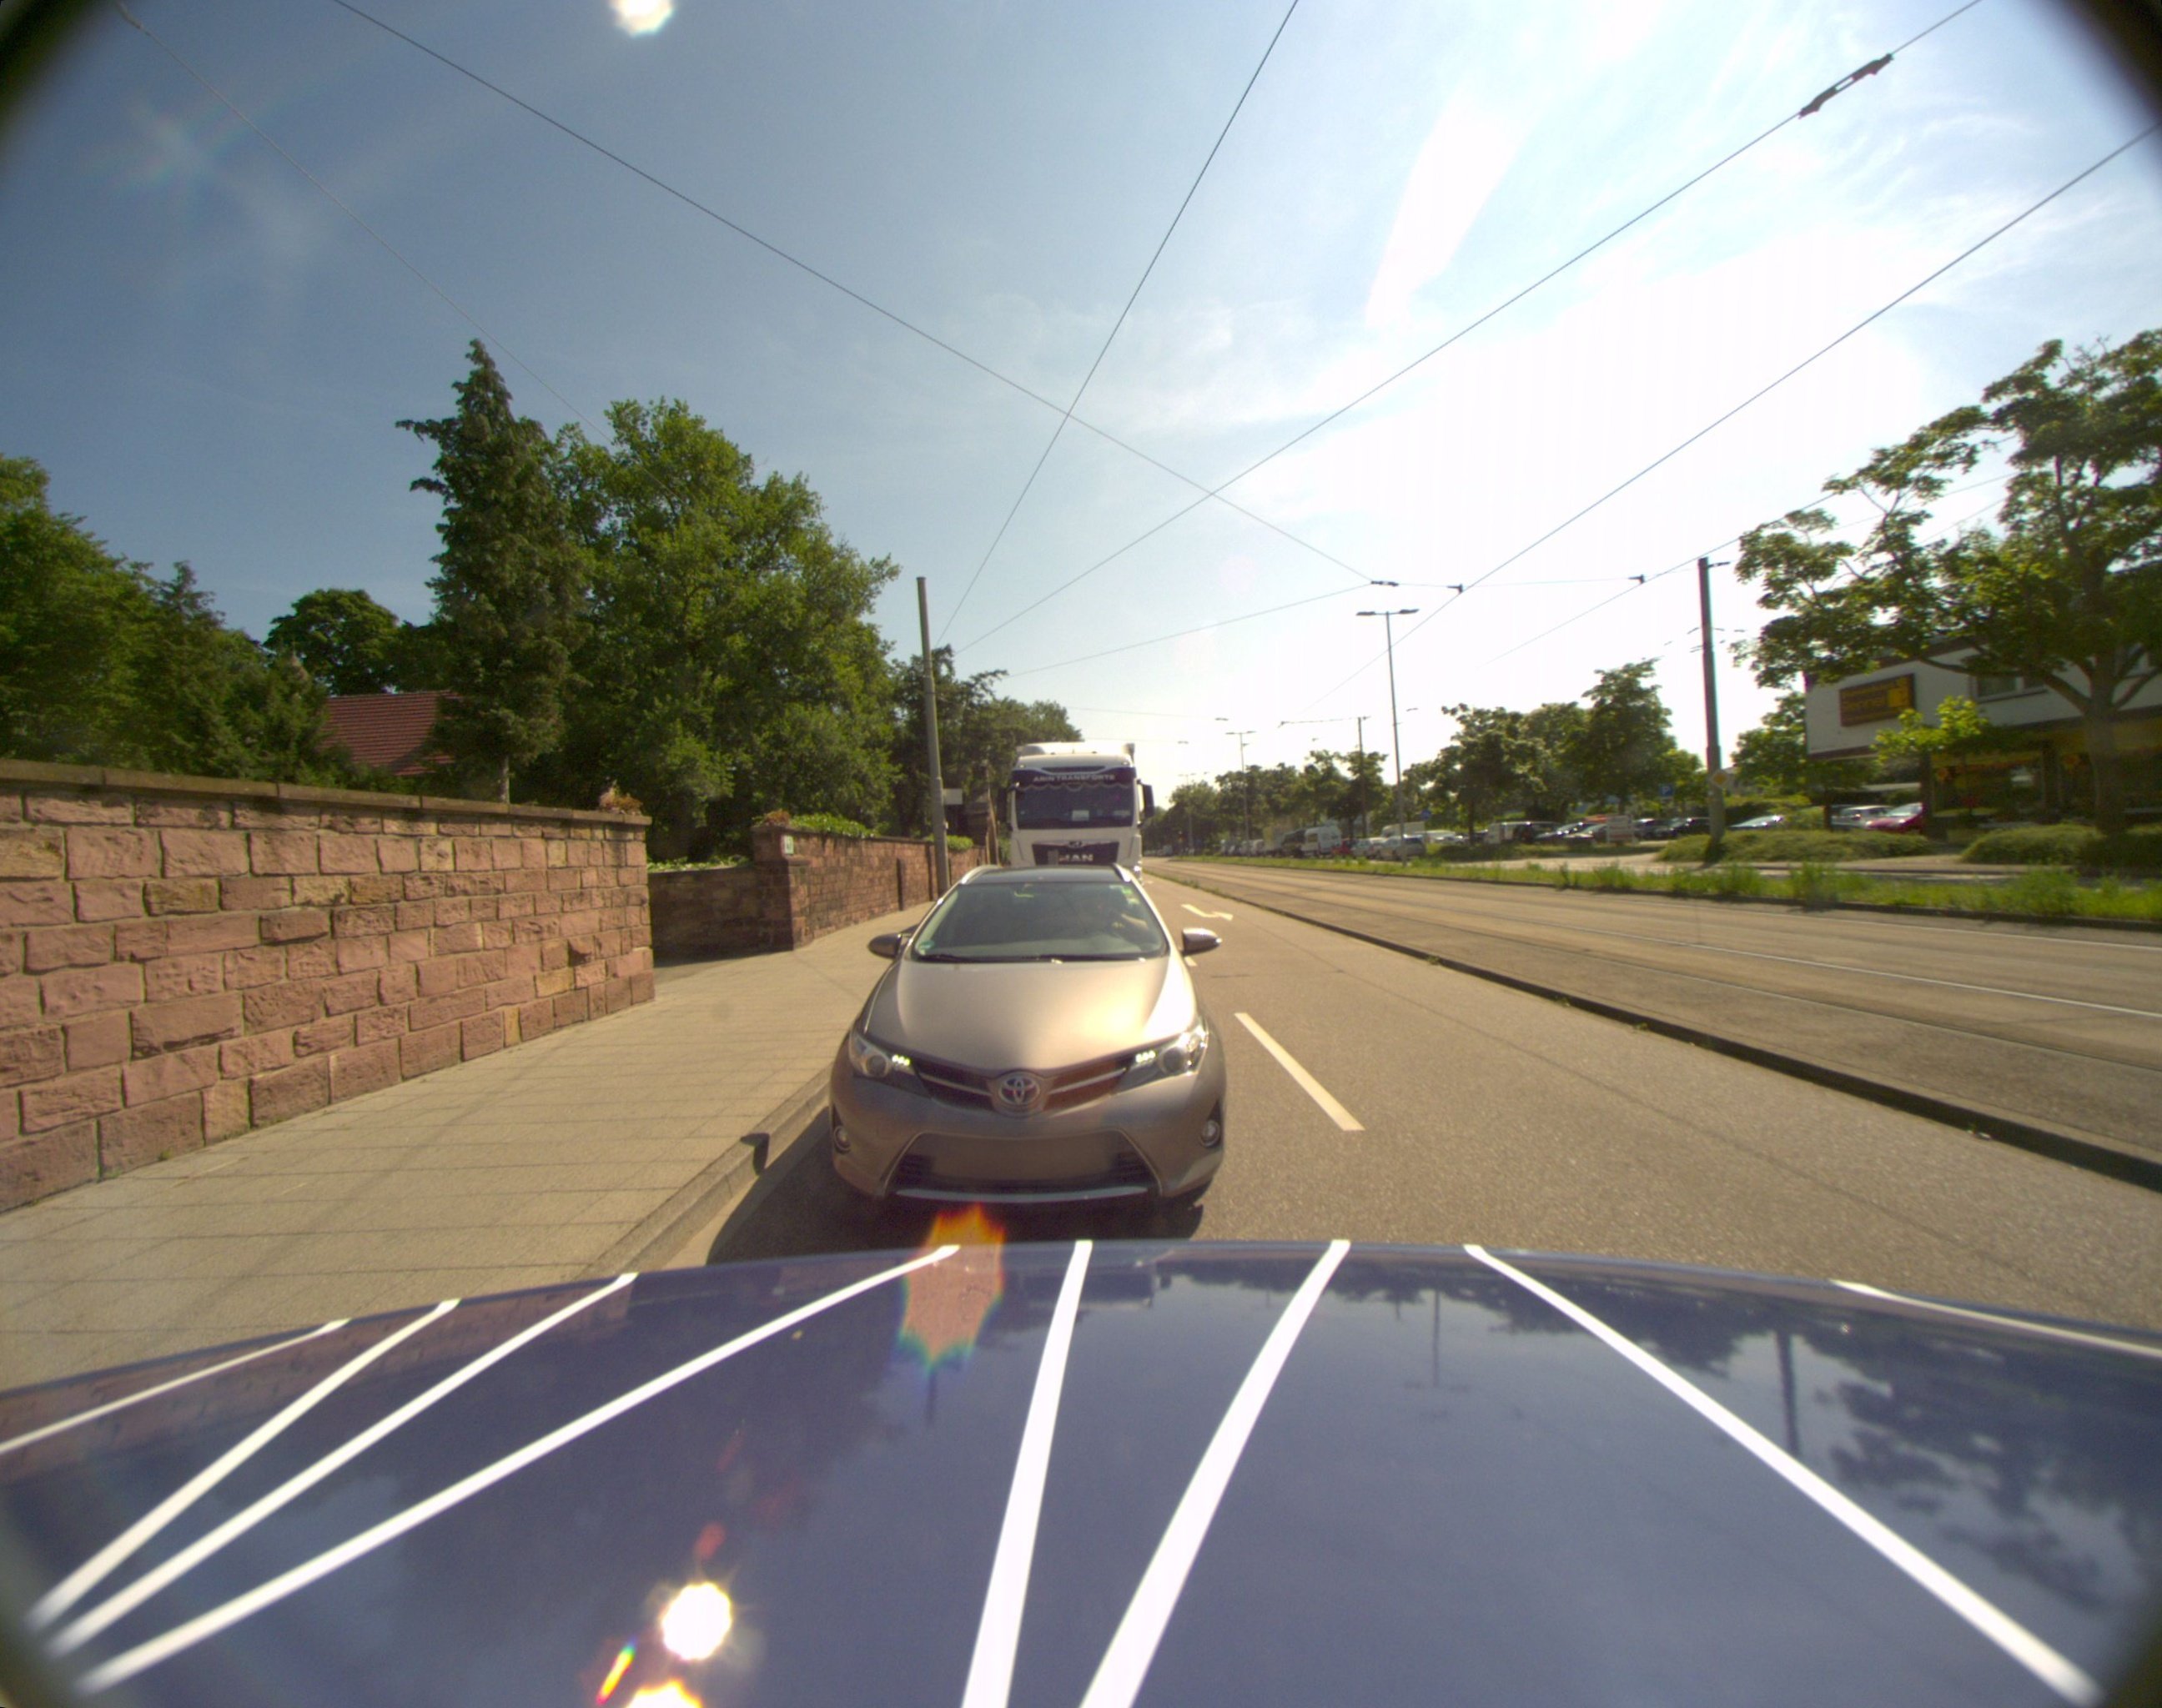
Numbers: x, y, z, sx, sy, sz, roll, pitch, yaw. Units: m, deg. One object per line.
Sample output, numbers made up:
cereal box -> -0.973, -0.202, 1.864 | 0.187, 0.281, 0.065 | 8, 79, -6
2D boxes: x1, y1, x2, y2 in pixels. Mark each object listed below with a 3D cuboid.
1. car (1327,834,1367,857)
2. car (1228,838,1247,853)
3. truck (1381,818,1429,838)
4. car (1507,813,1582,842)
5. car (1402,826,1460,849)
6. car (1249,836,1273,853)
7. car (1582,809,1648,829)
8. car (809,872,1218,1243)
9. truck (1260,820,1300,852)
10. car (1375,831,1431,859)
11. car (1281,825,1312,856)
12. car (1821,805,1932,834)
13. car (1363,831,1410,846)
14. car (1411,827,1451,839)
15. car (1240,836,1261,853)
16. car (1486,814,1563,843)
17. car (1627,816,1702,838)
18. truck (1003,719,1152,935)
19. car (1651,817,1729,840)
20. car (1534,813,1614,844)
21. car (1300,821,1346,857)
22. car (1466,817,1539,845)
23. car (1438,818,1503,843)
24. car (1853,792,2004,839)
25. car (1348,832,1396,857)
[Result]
car -> 20.484, -0.629, 58.755 | 1.675, 1.524, 3.793 | -6, 0, 1
car -> 20.630, -1.092, 100.072 | 1.502, 1.775, 3.687 | -6, 0, 0
truck -> 44.847, -3.650, 105.137 | 5.652, 2.367, 1.990 | -3, 1, -2
car -> 30.584, -1.713, 50.199 | 3.810, 1.625, 1.676 | -3, 1, 2
car -> 31.174, -1.399, 67.879 | 2.594, 1.800, 5.741 | -3, 0, 2
car -> 20.662, -1.052, 87.372 | 1.502, 1.793, 4.633 | -6, 0, 1
car -> 43.899, -2.837, 62.510 | 4.254, 1.327, 1.676 | -3, 0, -1
car -> -0.259, 0.897, 5.156 | 1.654, 1.374, 4.000 | -2, 0, 1
truck -> 20.587, -1.851, 78.913 | 2.508, 2.917, 5.903 | -6, 0, 2
car -> 20.297, -0.542, 48.126 | 1.675, 1.524, 4.256 | -6, 0, 1
car -> 19.893, -1.211, 70.371 | 1.502, 2.609, 4.007 | -6, 0, 1
car -> 44.185, -1.893, 42.253 | 4.252, 1.327, 1.676 | -3, 0, 2
car -> 32.322, -1.593, 80.395 | 4.253, 1.327, 1.676 | -3, 0, 1
car -> 43.742, -2.623, 95.036 | 4.253, 1.327, 1.676 | -3, 0, 1
car -> 20.972, -1.169, 94.219 | 1.502, 1.835, 4.059 | -6, 0, 0
car -> 30.698, -1.768, 52.667 | 4.117, 1.728, 1.990 | -3, 1, -2
car -> 44.164, -2.022, 57.548 | 4.252, 1.327, 1.676 | -3, 0, 2
truck -> 0.022, -0.547, 18.629 | 2.628, 3.906, 9.285 | -2, 1, 1
car -> 44.050, -1.848, 55.014 | 4.252, 1.327, 1.676 | -3, 0, 2
car -> 30.519, -1.564, 47.115 | 3.810, 1.625, 1.676 | -3, 1, 2
car -> 20.288, -1.225, 63.989 | 2.062, 2.638, 5.203 | -6, 0, 1
car -> 30.538, -1.681, 55.138 | 4.117, 1.728, 1.990 | -3, 1, -2
car -> 31.237, -1.843, 60.976 | 4.117, 1.728, 1.990 | -3, 1, -2
car -> 35.264, -1.575, 31.680 | 4.252, 1.595, 1.676 | -3, 1, 2
car -> 20.462, -0.626, 53.616 | 1.675, 1.524, 4.256 | -6, 0, 1
